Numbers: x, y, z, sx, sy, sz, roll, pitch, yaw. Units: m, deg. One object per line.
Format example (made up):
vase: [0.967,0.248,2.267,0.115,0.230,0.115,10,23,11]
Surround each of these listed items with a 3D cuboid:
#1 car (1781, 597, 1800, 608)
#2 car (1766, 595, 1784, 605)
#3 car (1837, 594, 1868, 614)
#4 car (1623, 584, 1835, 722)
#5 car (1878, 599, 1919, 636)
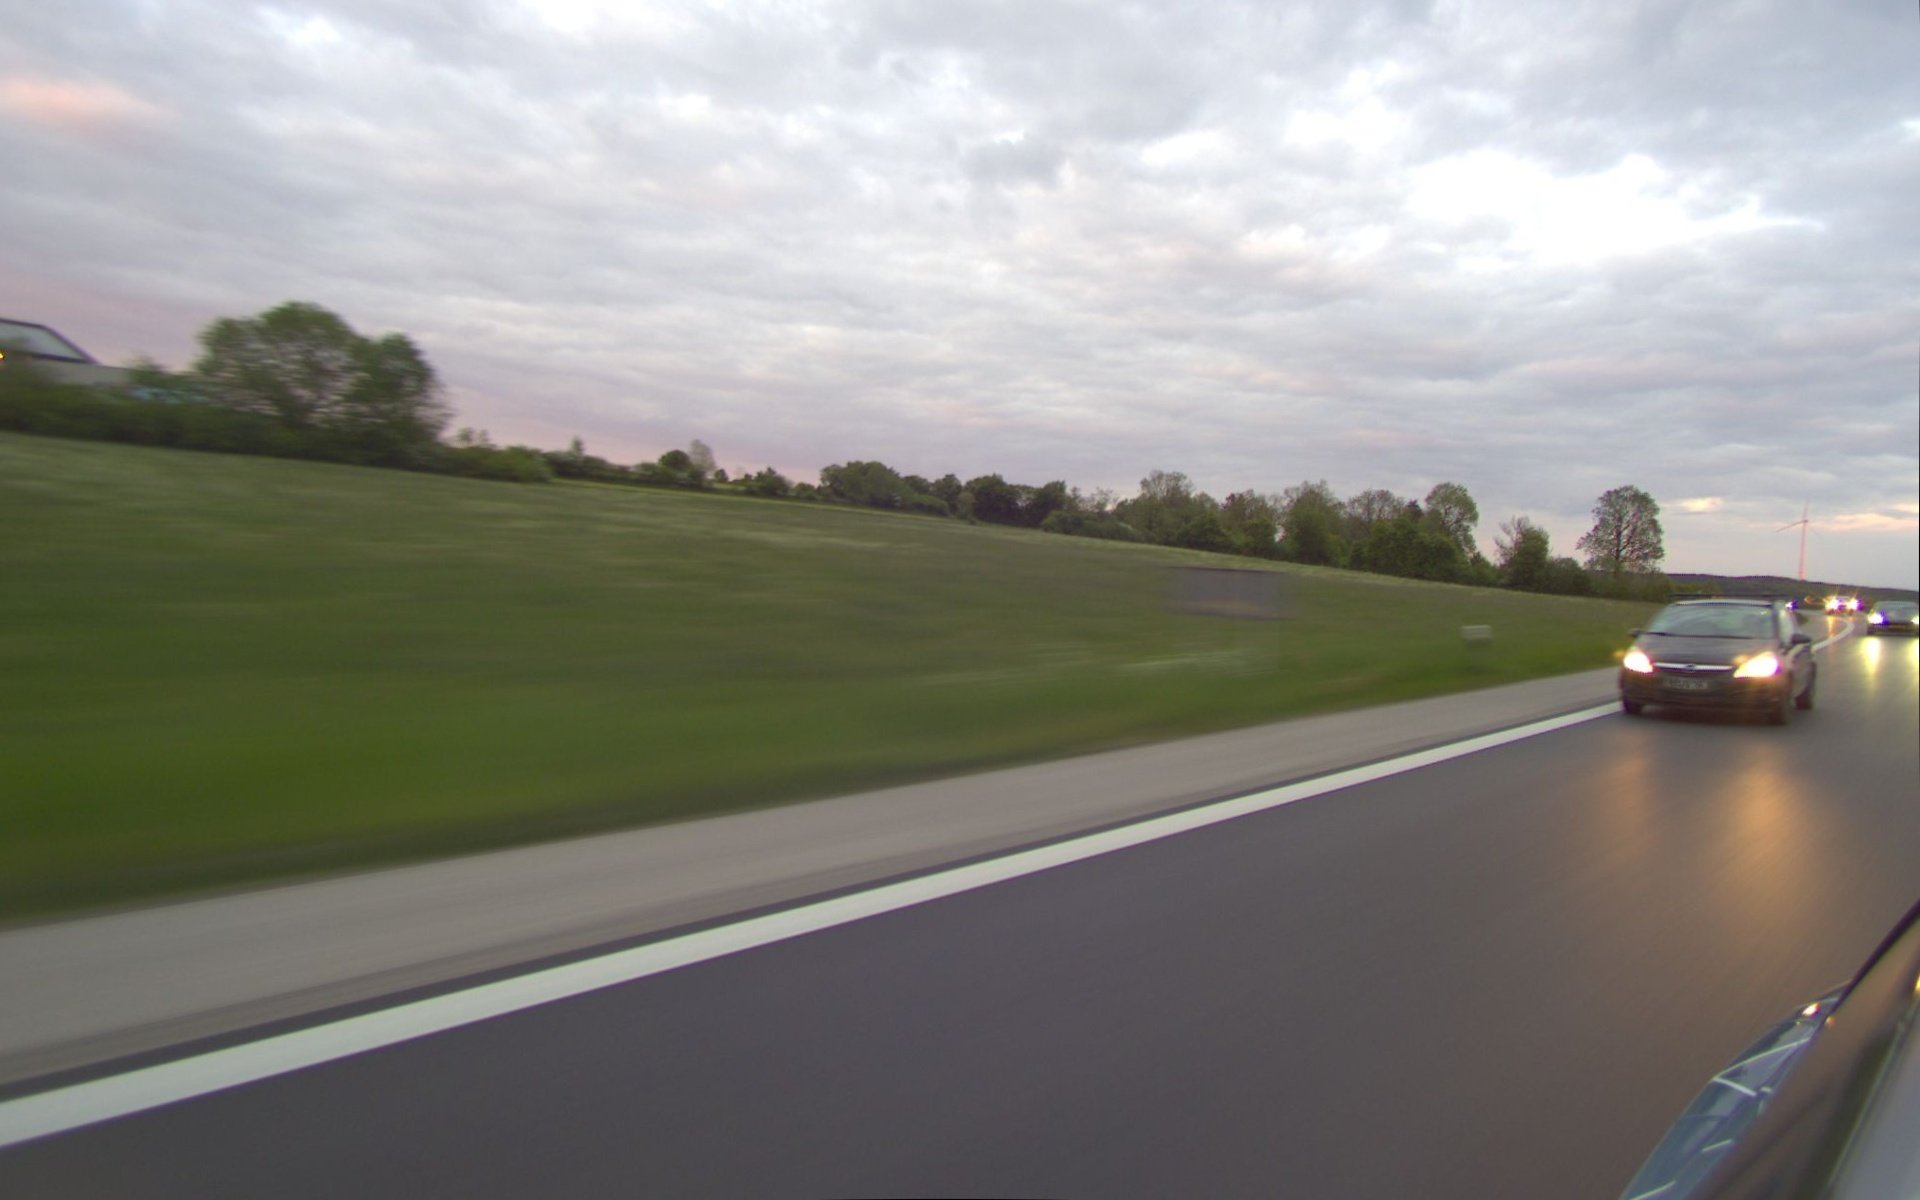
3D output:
car: [127.528,0.383,155.365,1.790,1.665,4.046,1,2,33]
car: [140.323,-0.035,174.243,1.789,1.665,4.050,1,1,31]
car: [89.211,0.377,101.214,1.910,1.860,3.948,3,2,36]
car: [10.182,0.574,13.299,3.934,1.532,1.678,0,1,-45]
car: [39.981,0.706,42.524,3.935,1.413,1.881,0,3,-45]
